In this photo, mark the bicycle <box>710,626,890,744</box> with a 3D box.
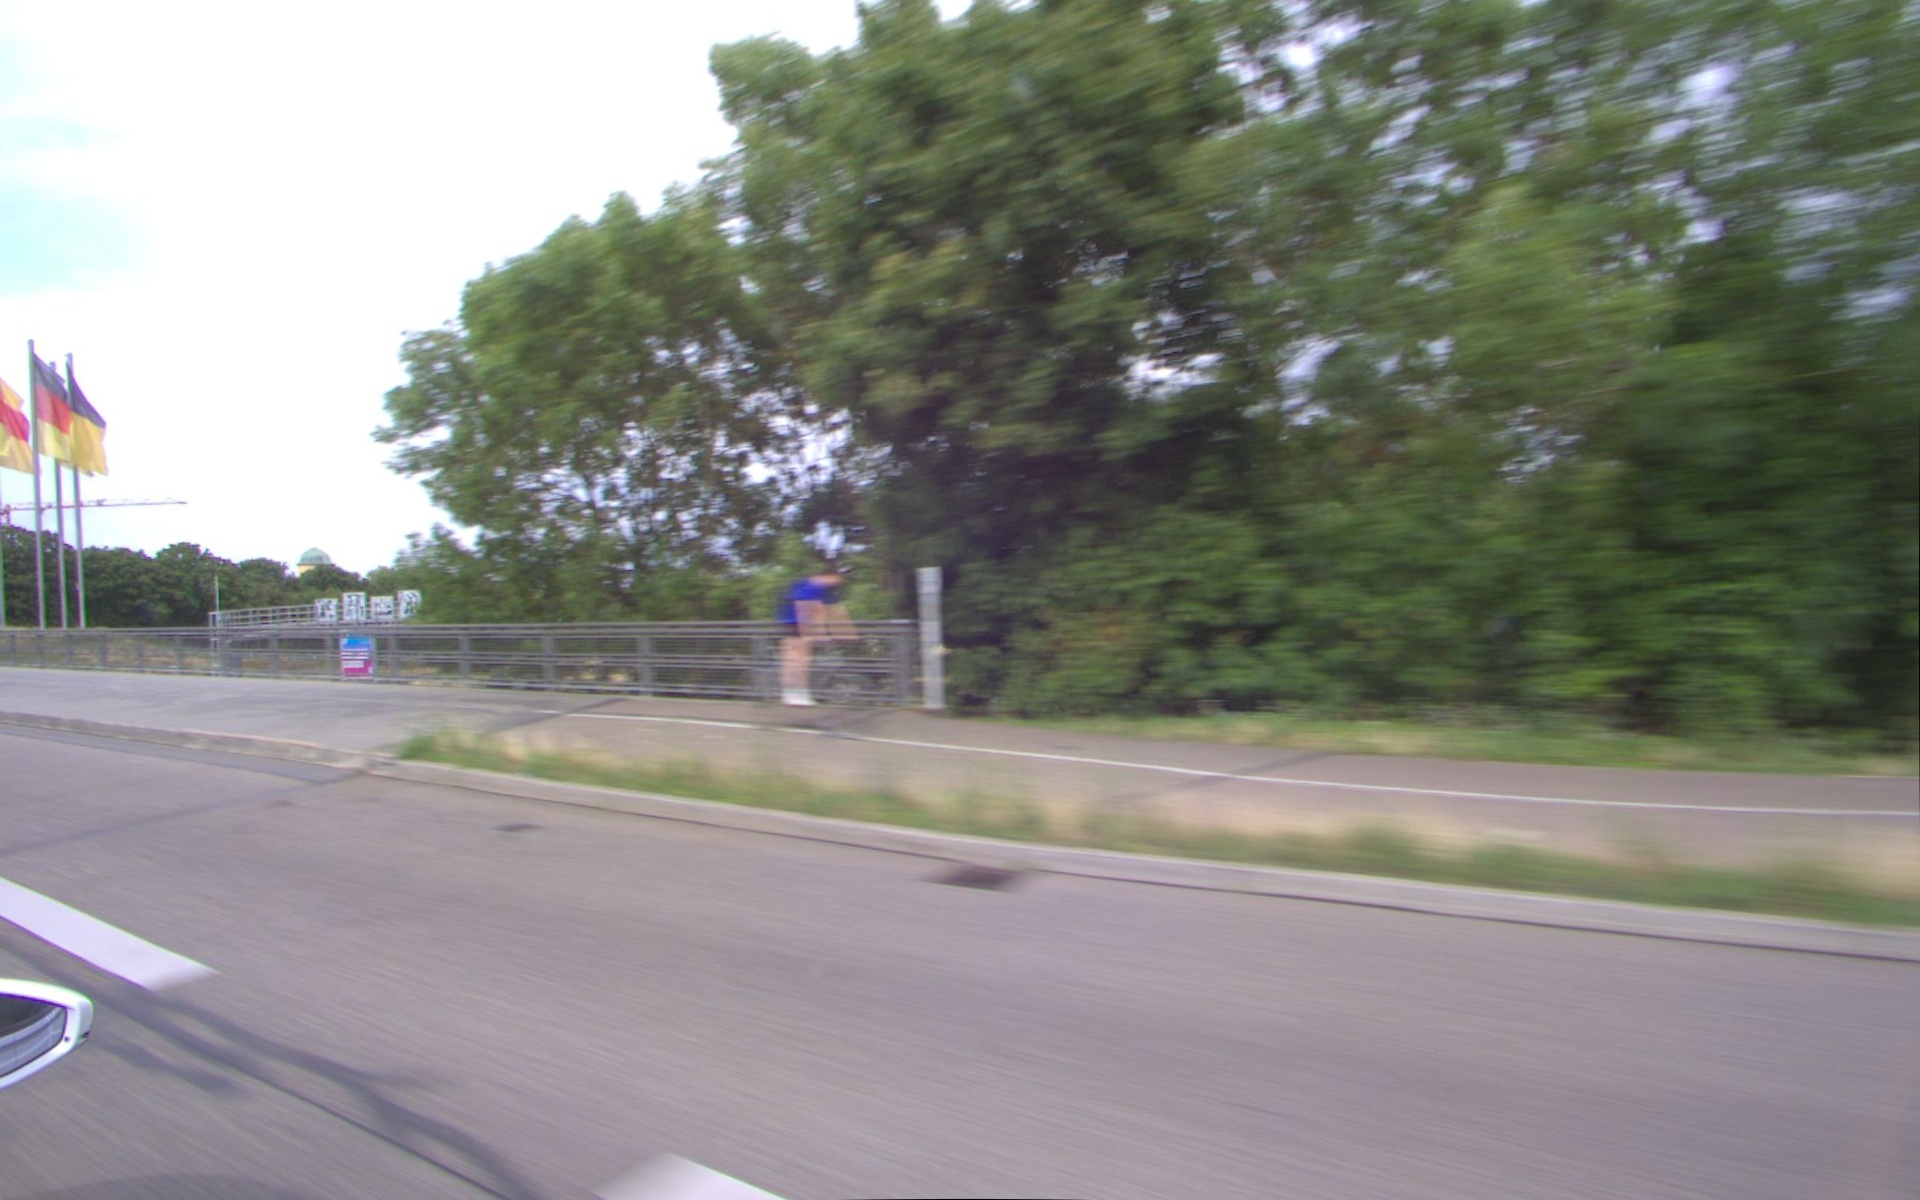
[{"bbox_3d":[-1.690,0.842,10.452,1.946,1.036,0.575,2,4,32],"label":"bicycle"}]

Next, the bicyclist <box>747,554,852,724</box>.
[{"bbox_3d":[-1.663,0.388,10.415,0.793,1.681,0.663,2,1,31],"label":"bicyclist"}]
